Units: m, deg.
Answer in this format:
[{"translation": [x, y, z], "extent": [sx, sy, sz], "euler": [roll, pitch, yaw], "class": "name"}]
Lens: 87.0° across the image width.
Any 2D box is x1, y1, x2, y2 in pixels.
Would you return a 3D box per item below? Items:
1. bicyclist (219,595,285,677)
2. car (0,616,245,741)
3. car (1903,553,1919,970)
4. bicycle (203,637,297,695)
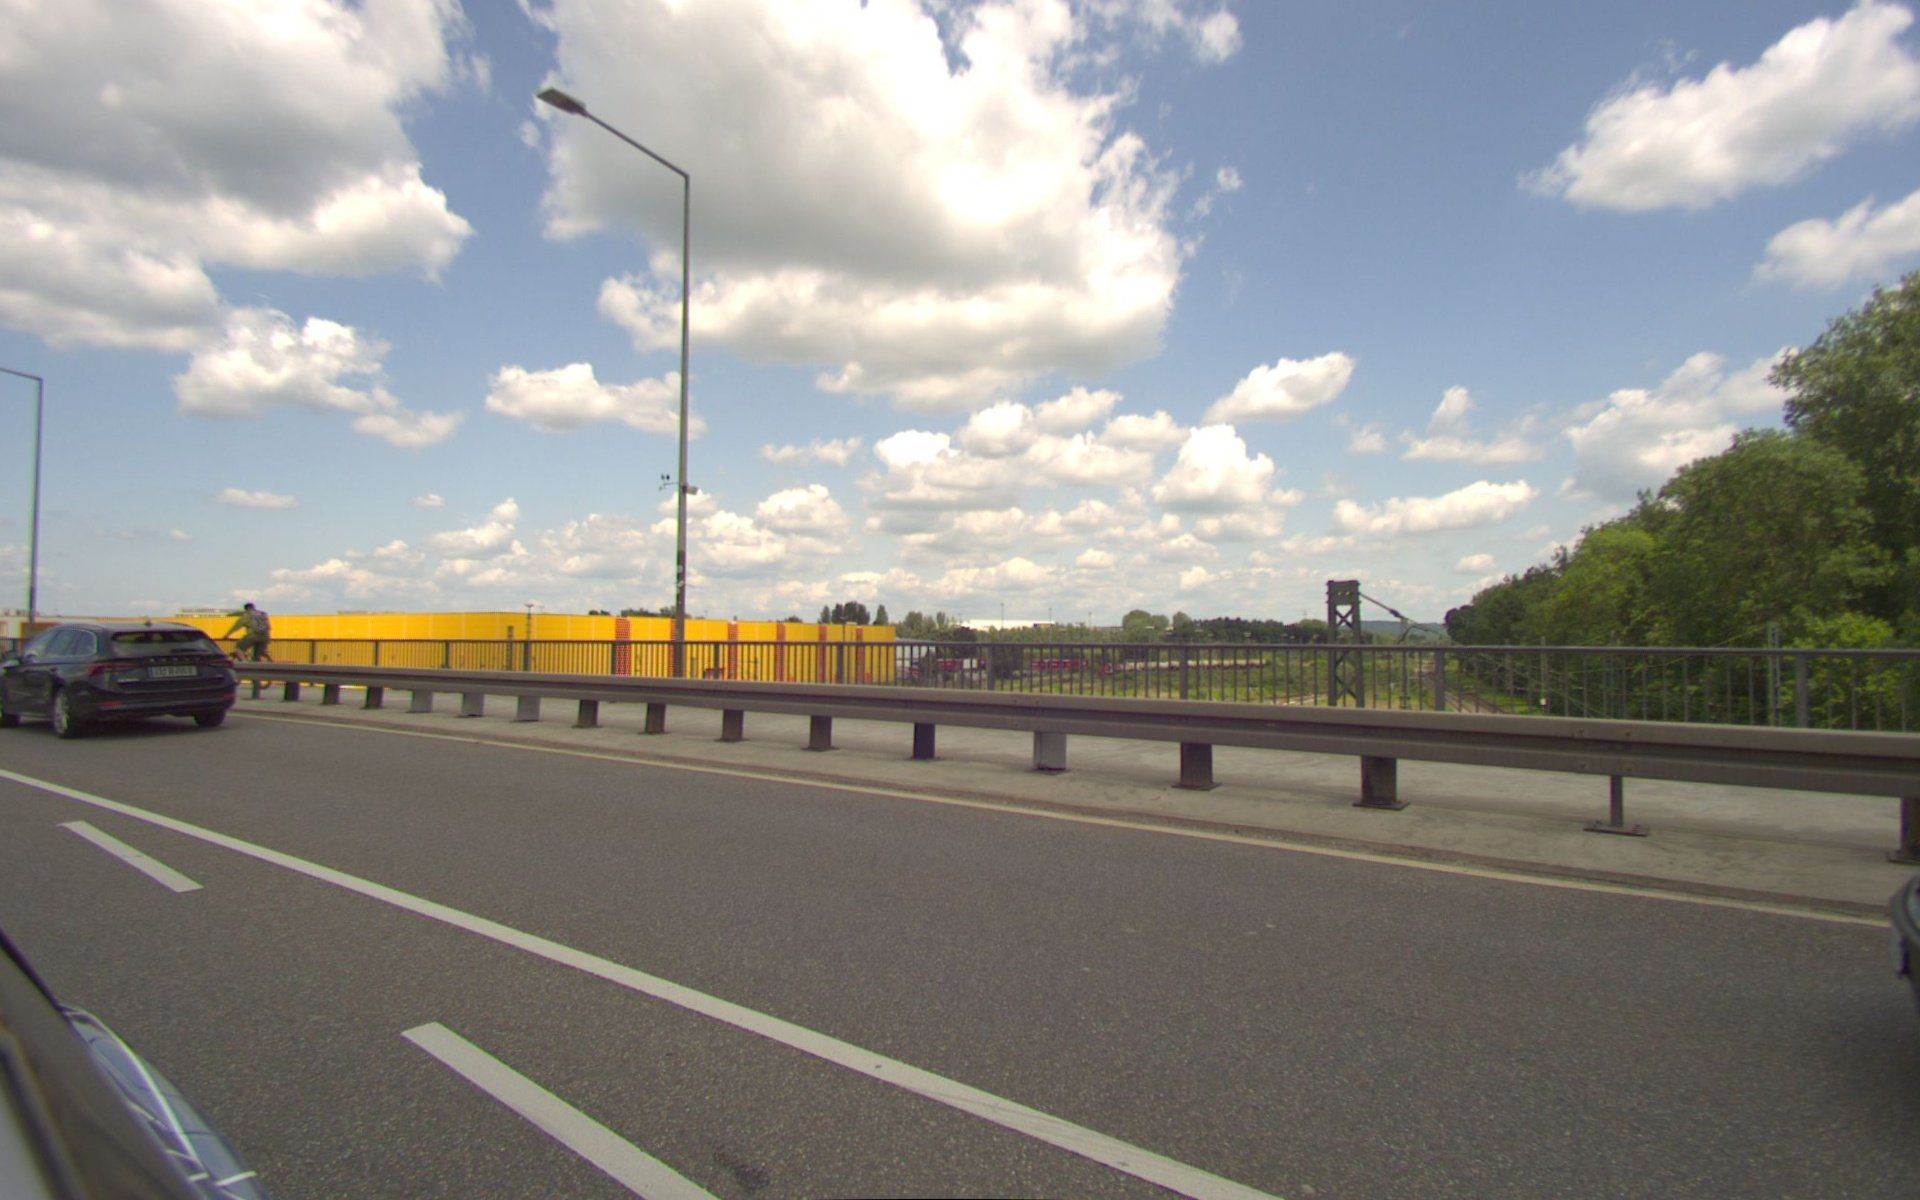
[{"translation": [-14.417, 0.724, 20.604], "extent": [0.944, 1.614, 0.762], "euler": [-1, -2, 30], "class": "bicyclist"}, {"translation": [-11.970, 1.015, 14.074], "extent": [4.725, 1.462, 1.802], "euler": [-2, -1, 35], "class": "car"}, {"translation": [4.373, 0.543, 1.730], "extent": [3.924, 1.463, 1.796], "euler": [-2, -1, 41], "class": "car"}, {"translation": [-14.482, 1.320, 20.629], "extent": [2.107, 1.103, 0.763], "euler": [-1, -2, 30], "class": "bicycle"}]
